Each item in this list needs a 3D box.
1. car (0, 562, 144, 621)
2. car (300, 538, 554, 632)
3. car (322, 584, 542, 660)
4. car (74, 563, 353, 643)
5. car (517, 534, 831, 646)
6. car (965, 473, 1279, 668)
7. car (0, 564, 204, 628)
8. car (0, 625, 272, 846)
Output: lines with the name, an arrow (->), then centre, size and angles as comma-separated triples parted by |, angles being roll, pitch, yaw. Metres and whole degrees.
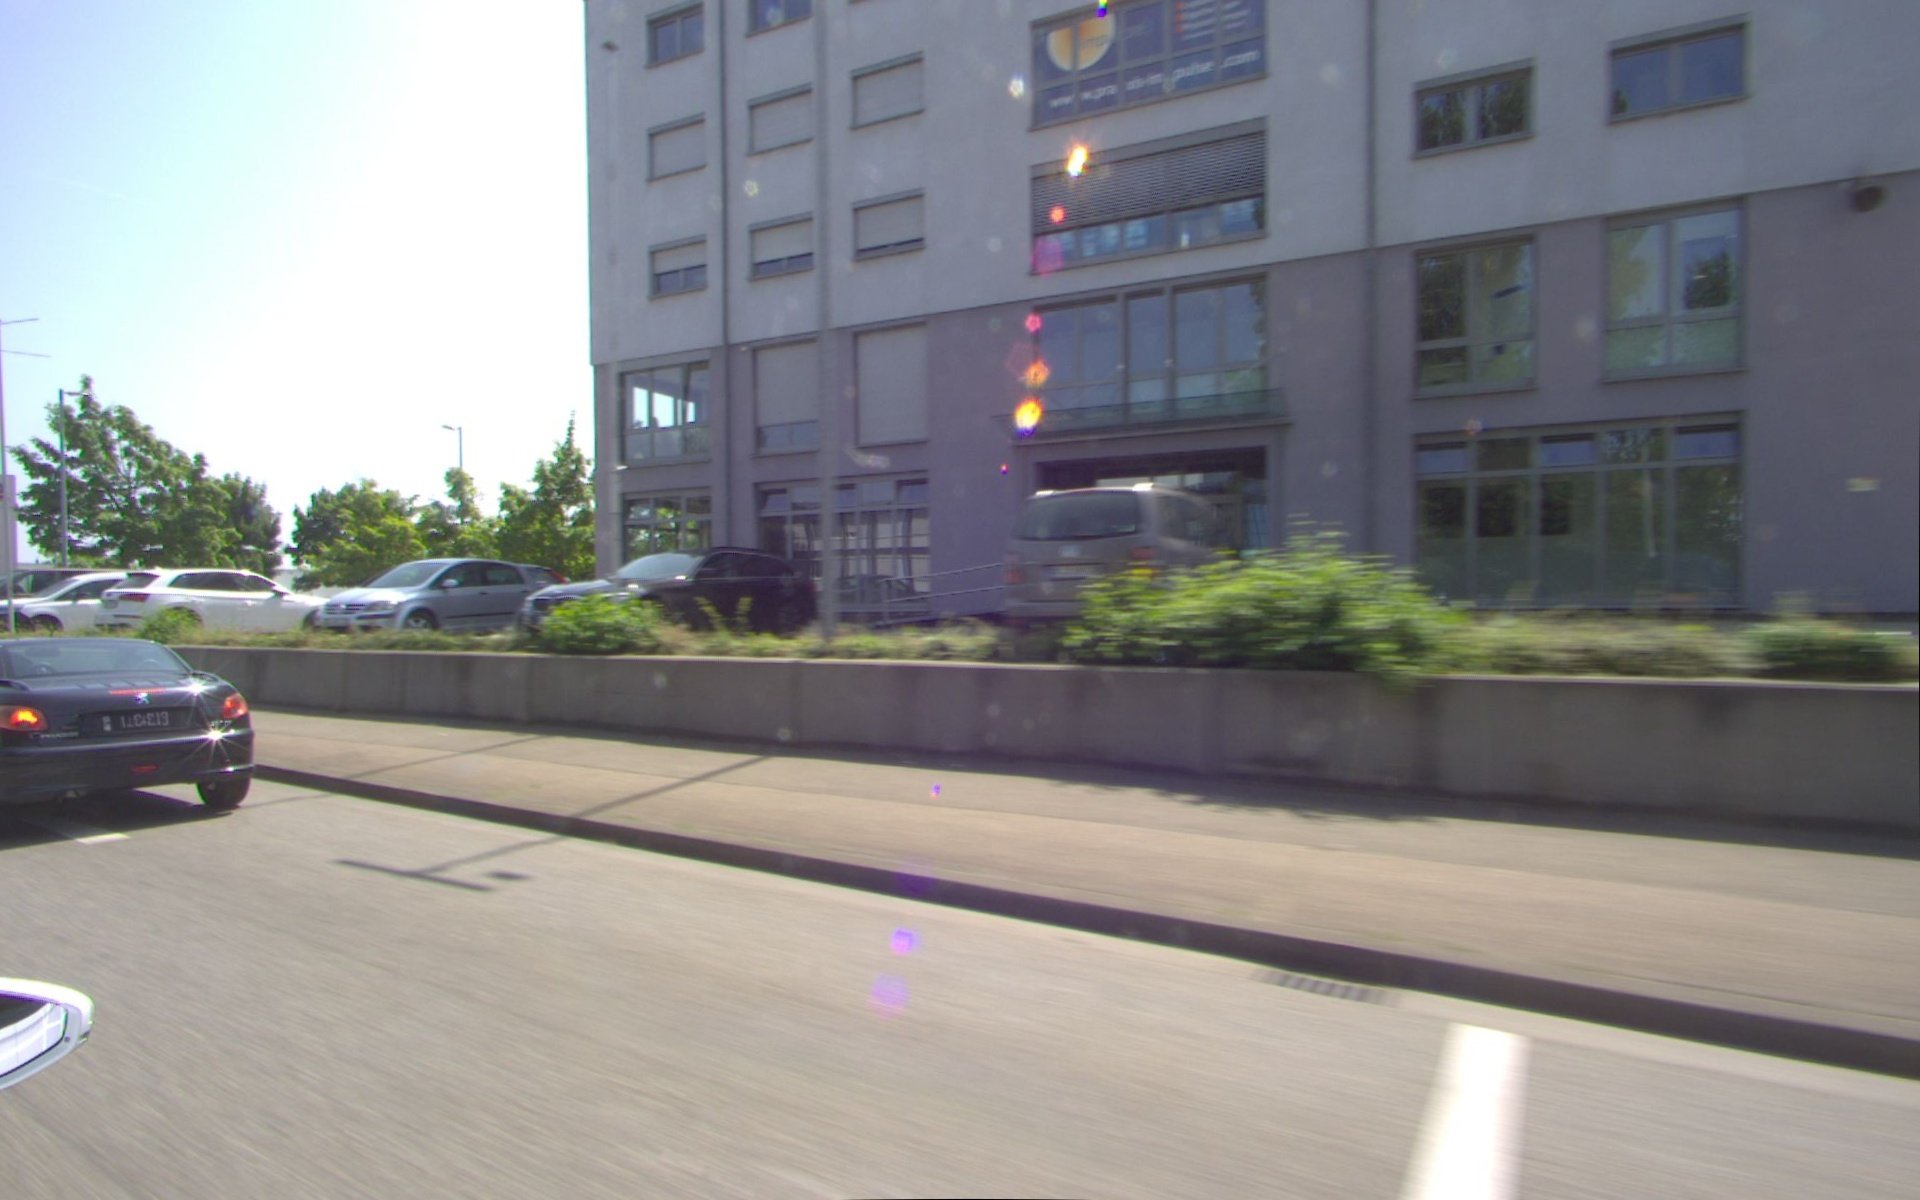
car -> -25.780, -0.229, 28.101 | 1.970, 1.565, 3.981 | -1, 1, 30
car -> -9.332, -0.250, 17.928 | 1.733, 1.472, 3.927 | -1, 1, 17
car -> -11.441, 0.424, 21.852 | 1.747, 1.472, 3.896 | 0, 1, 45
car -> -16.324, 0.031, 22.162 | 1.971, 1.565, 4.526 | 0, 1, 31
car -> -4.013, -0.147, 14.802 | 1.970, 1.387, 4.313 | -1, 1, 30
car -> 1.975, -0.276, 10.914 | 1.970, 1.669, 4.219 | 0, 1, 31
car -> -23.262, -0.119, 26.859 | 1.970, 1.565, 4.340 | -1, 1, 30
car -> -7.384, 0.933, 8.199 | 3.553, 1.382, 1.624 | 0, -1, 32
